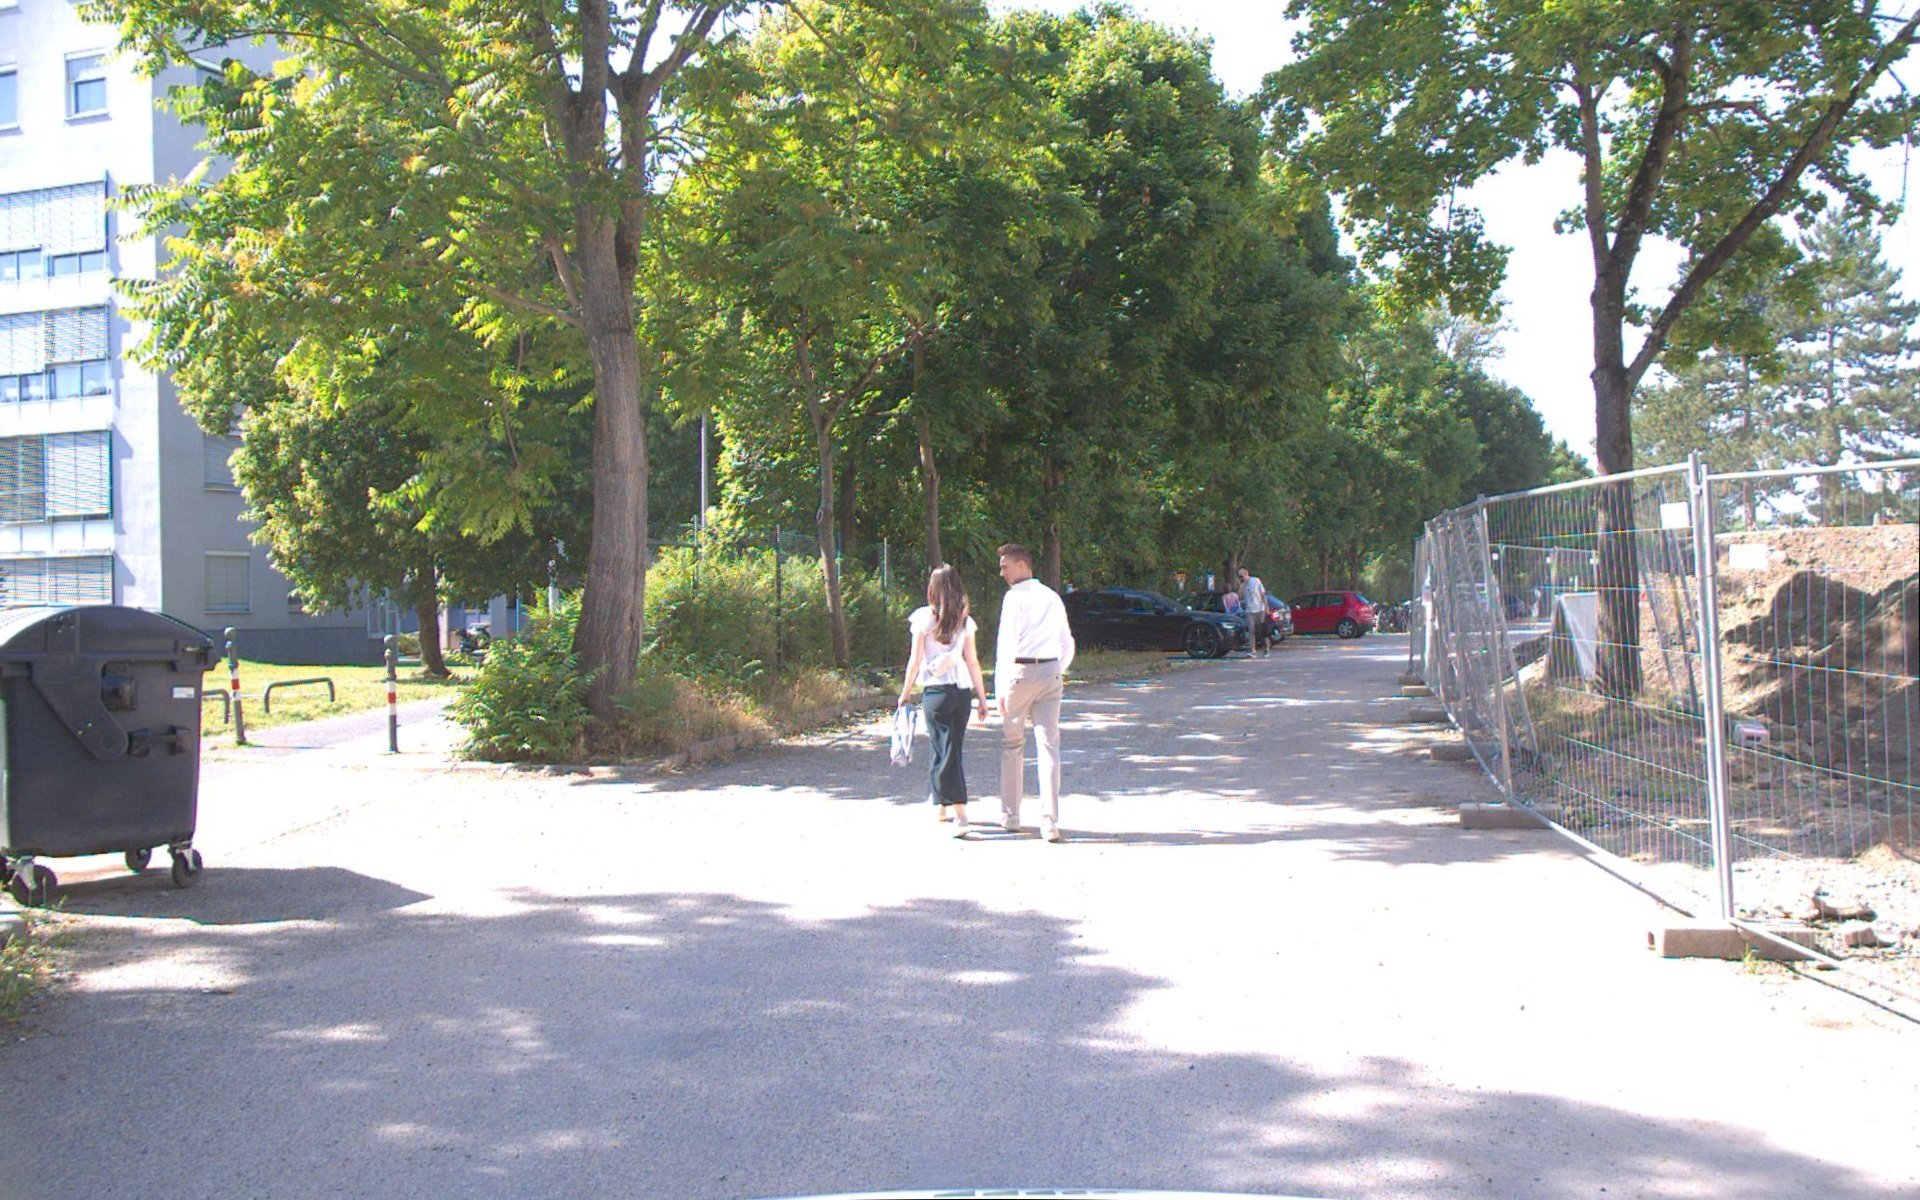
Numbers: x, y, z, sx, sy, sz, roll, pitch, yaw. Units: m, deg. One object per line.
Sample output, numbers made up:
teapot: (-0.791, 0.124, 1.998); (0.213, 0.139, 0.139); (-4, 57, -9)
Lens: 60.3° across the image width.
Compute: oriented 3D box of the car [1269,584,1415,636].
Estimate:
car: (12.084, 0.321, 52.274); (4.200, 1.551, 1.891); (-1, 0, 24)

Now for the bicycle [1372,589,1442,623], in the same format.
bicycle: (17.902, 0.234, 66.203); (2.619, 1.306, 0.819); (-1, 0, 20)

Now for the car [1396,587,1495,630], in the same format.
car: (21.328, 0.367, 72.679); (3.911, 1.803, 1.765); (-1, 1, 29)

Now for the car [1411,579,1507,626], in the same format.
car: (22.708, 0.108, 75.338); (3.911, 2.049, 1.765); (-1, 1, 29)

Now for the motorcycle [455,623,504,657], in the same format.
motorcycle: (-19.025, 1.571, 65.571); (0.616, 1.268, 2.060); (-1, 0, 27)

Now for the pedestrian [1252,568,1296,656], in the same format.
pedestrian: (6.651, 0.247, 34.987); (0.800, 1.812, 1.018); (-1, 0, 17)

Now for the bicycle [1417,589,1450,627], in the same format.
bicycle: (16.886, 0.288, 58.903); (0.700, 1.306, 2.635); (-1, 0, 25)

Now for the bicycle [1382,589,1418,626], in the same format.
bicycle: (16.143, 0.273, 60.680); (0.800, 1.306, 2.682); (-1, 0, 25)

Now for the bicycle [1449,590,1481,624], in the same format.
bicycle: (20.213, 0.272, 66.188); (0.800, 1.306, 2.744); (-1, 0, 25)

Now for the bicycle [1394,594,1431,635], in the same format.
bicycle: (15.011, 0.478, 54.802); (0.700, 1.306, 2.682); (-1, 0, 25)

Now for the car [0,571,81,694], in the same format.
car: (-16.676, 0.542, 25.780); (1.955, 1.967, 5.034); (-1, 0, 27)

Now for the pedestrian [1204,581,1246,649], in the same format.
pedestrian: (6.451, 0.364, 40.237); (0.905, 1.623, 0.786); (-1, 1, 18)

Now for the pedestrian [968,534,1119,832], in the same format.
pedestrian: (0.503, 0.481, 10.299); (0.741, 1.758, 0.852); (-1, 1, -11)

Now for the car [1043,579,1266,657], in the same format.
car: (4.282, 0.382, 36.249); (4.558, 1.612, 2.001); (-1, 1, 17)

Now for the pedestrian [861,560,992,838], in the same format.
pedestrian: (-0.224, 0.590, 10.417); (0.721, 1.668, 0.780); (-1, 1, -8)

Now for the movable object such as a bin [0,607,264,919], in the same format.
movable object such as a bin: (-4.522, 0.764, 8.574); (1.380, 1.421, 1.240); (-1, 0, 44)

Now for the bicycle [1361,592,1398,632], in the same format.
bicycle: (14.282, 0.394, 56.294); (0.700, 1.306, 2.789); (-1, 0, 25)

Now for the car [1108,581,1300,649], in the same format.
car: (6.189, 0.381, 41.854); (4.558, 1.612, 2.001); (-1, 1, 17)
